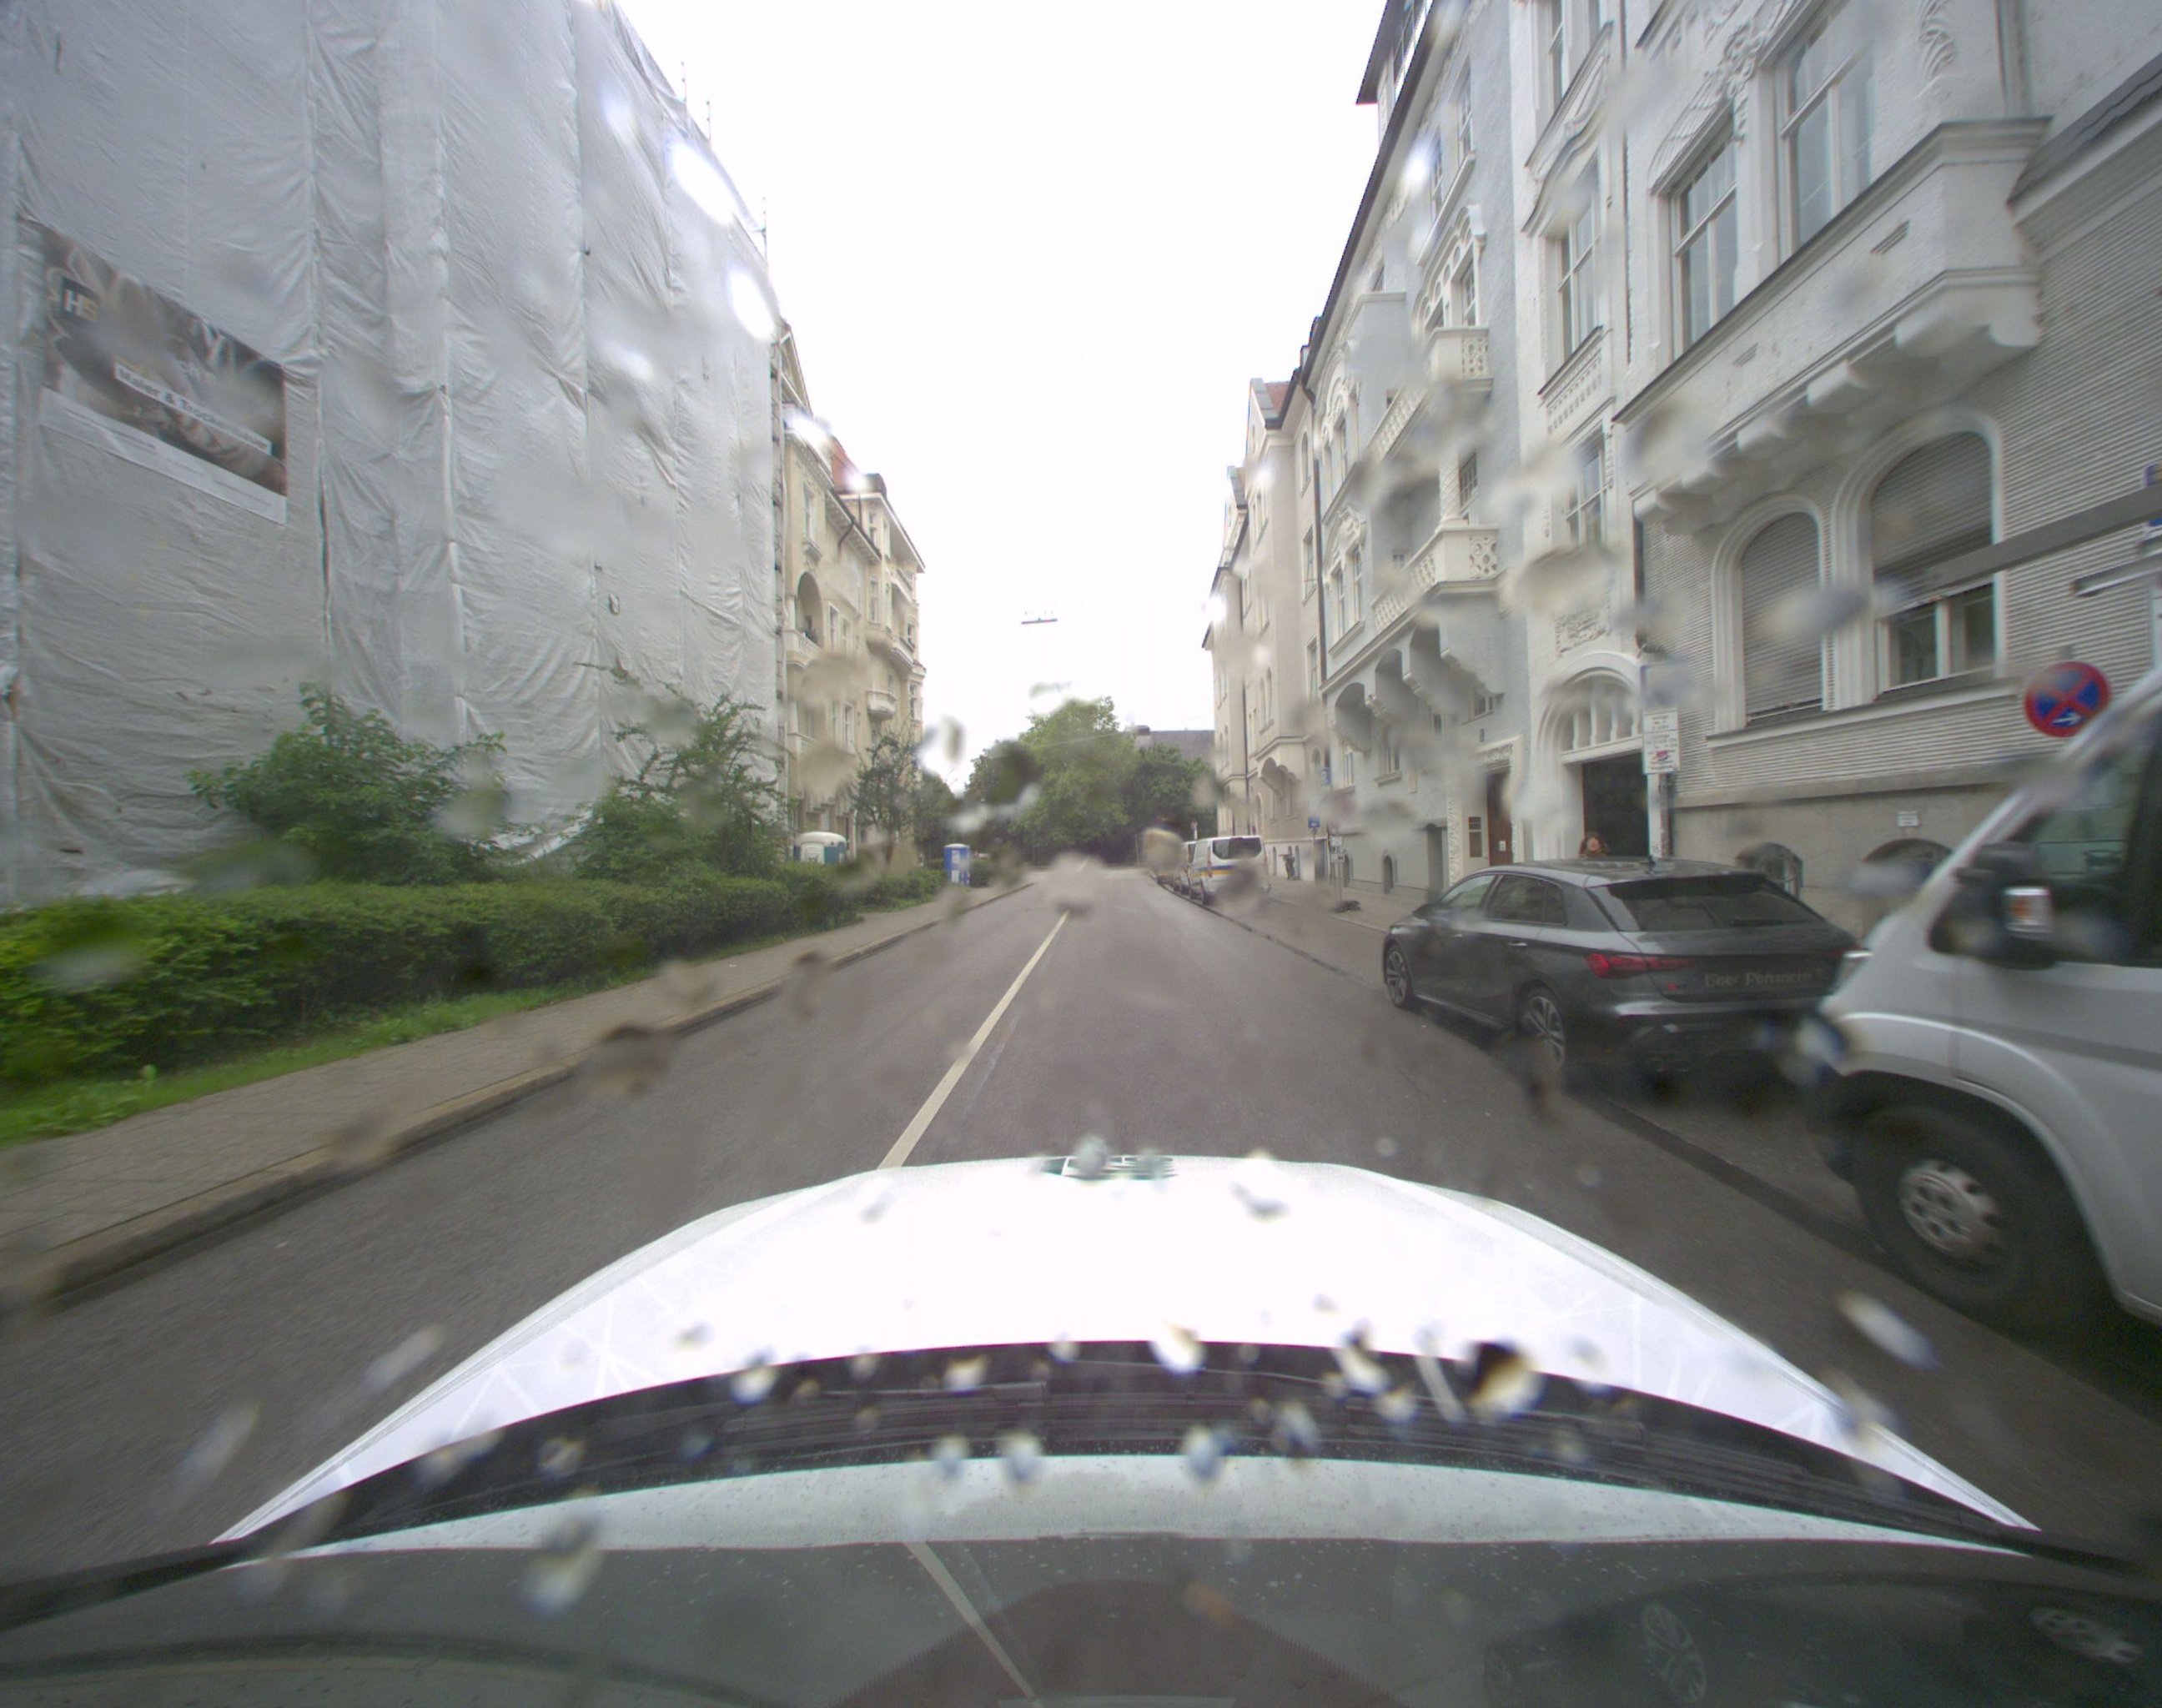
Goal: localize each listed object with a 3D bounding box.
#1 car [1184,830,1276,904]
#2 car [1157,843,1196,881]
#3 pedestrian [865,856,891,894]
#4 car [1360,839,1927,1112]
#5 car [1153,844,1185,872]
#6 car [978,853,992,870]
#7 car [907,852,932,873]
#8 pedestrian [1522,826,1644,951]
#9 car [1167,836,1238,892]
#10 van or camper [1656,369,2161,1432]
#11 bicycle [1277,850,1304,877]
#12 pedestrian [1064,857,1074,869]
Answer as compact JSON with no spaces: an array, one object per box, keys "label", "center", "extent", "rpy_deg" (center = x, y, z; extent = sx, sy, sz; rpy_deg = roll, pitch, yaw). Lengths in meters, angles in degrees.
[{"label":"car","center":[4.542,0.355,25.627],"extent":[1.953,2.013,4.993],"rpy_deg":[-3,0,0]},{"label":"car","center":[4.979,0.394,43.023],"extent":[1.841,1.853,4.827],"rpy_deg":[-2,0,5]},{"label":"pedestrian","center":[-9.707,0.977,38.944],"extent":[0.910,1.751,0.948],"rpy_deg":[-3,0,1]},{"label":"car","center":[3.823,0.675,6.565],"extent":[1.747,1.434,4.087],"rpy_deg":[-3,0,1]},{"label":"car","center":[6.561,0.289,61.197],"extent":[1.909,1.962,4.928],"rpy_deg":[-3,0,1]},{"label":"car","center":[-15.337,1.173,129.866],"extent":[2.040,2.558,5.234],"rpy_deg":[-2,0,-8]},{"label":"car","center":[-23.019,1.219,116.321],"extent":[2.329,2.922,6.572],"rpy_deg":[-2,0,-3]},{"label":"pedestrian","center":[6.807,0.465,11.105],"extent":[0.917,1.555,1.017],"rpy_deg":[-4,-2,1]},{"label":"car","center":[4.636,0.357,31.779],"extent":[1.953,1.937,4.993],"rpy_deg":[-3,0,0]},{"label":"van or camper","center":[3.608,0.100,1.052],"extent":[1.946,2.637,5.461],"rpy_deg":[-2,0,2]},{"label":"bicycle","center":[9.071,0.412,35.361],"extent":[0.691,1.093,2.038],"rpy_deg":[-4,0,3]},{"label":"pedestrian","center":[-1.261,0.895,84.299],"extent":[0.807,1.189,0.921],"rpy_deg":[-2,0,8]}]
